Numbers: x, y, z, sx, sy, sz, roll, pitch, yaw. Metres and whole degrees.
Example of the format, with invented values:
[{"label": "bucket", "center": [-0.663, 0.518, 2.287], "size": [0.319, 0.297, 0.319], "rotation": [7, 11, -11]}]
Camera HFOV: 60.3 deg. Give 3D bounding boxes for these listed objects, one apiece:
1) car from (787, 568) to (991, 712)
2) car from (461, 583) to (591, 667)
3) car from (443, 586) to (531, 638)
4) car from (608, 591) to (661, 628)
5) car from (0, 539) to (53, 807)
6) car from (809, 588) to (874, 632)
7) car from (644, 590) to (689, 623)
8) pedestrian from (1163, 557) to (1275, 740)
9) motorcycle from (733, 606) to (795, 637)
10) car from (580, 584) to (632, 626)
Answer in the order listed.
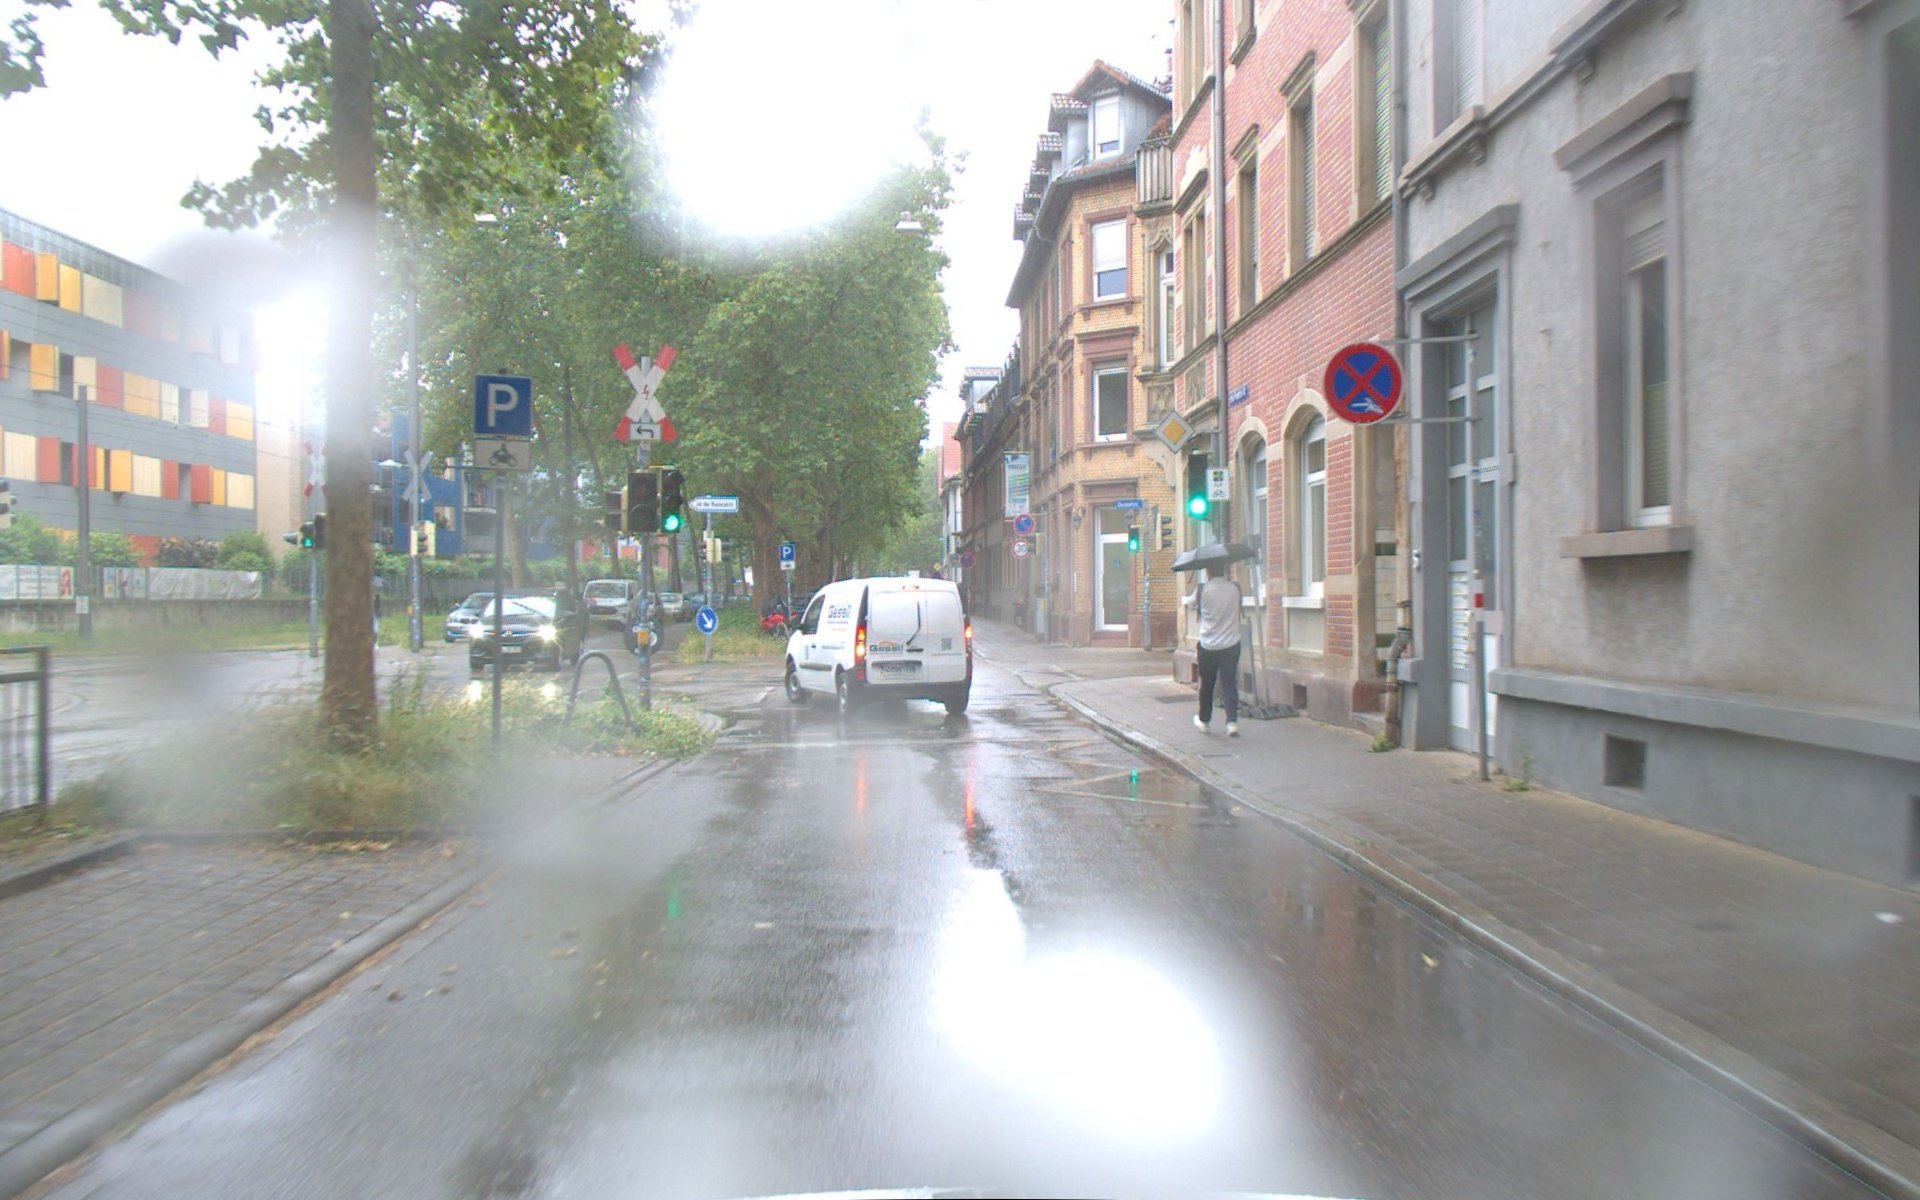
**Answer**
[{"label": "car", "center": [-1.099, 0.541, 23.257], "size": [1.874, 1.829, 4.093], "rotation": [0, -1, -17]}, {"label": "car", "center": [-8.927, 0.474, 34.343], "size": [1.959, 1.641, 4.119], "rotation": [0, 0, -5]}, {"label": "car", "center": [-13.763, 0.335, 48.287], "size": [1.957, 1.440, 3.992], "rotation": [0, 0, -9]}, {"label": "car", "center": [-14.870, 0.394, 75.763], "size": [1.959, 1.641, 4.119], "rotation": [0, 0, -5]}, {"label": "car", "center": [-6.797, 0.461, 8.731], "size": [1.957, 1.641, 3.998], "rotation": [0, 0, -3]}, {"label": "car", "center": [-3.957, 0.325, 55.762], "size": [1.953, 1.411, 3.999], "rotation": [0, 0, -1]}, {"label": "car", "center": [-15.259, 0.318, 86.039], "size": [1.959, 1.641, 4.119], "rotation": [0, 0, -5]}, {"label": "pedestrian", "center": [2.626, 0.474, 16.880], "size": [0.823, 1.746, 1.107], "rotation": [-4, 0, -2]}, {"label": "motorcycle", "center": [-5.591, 0.609, 47.158], "size": [1.670, 0.880, 0.577], "rotation": [0, 0, 3]}, {"label": "car", "center": [-14.094, 0.183, 66.008], "size": [1.958, 1.609, 3.989], "rotation": [0, 0, -11]}]
